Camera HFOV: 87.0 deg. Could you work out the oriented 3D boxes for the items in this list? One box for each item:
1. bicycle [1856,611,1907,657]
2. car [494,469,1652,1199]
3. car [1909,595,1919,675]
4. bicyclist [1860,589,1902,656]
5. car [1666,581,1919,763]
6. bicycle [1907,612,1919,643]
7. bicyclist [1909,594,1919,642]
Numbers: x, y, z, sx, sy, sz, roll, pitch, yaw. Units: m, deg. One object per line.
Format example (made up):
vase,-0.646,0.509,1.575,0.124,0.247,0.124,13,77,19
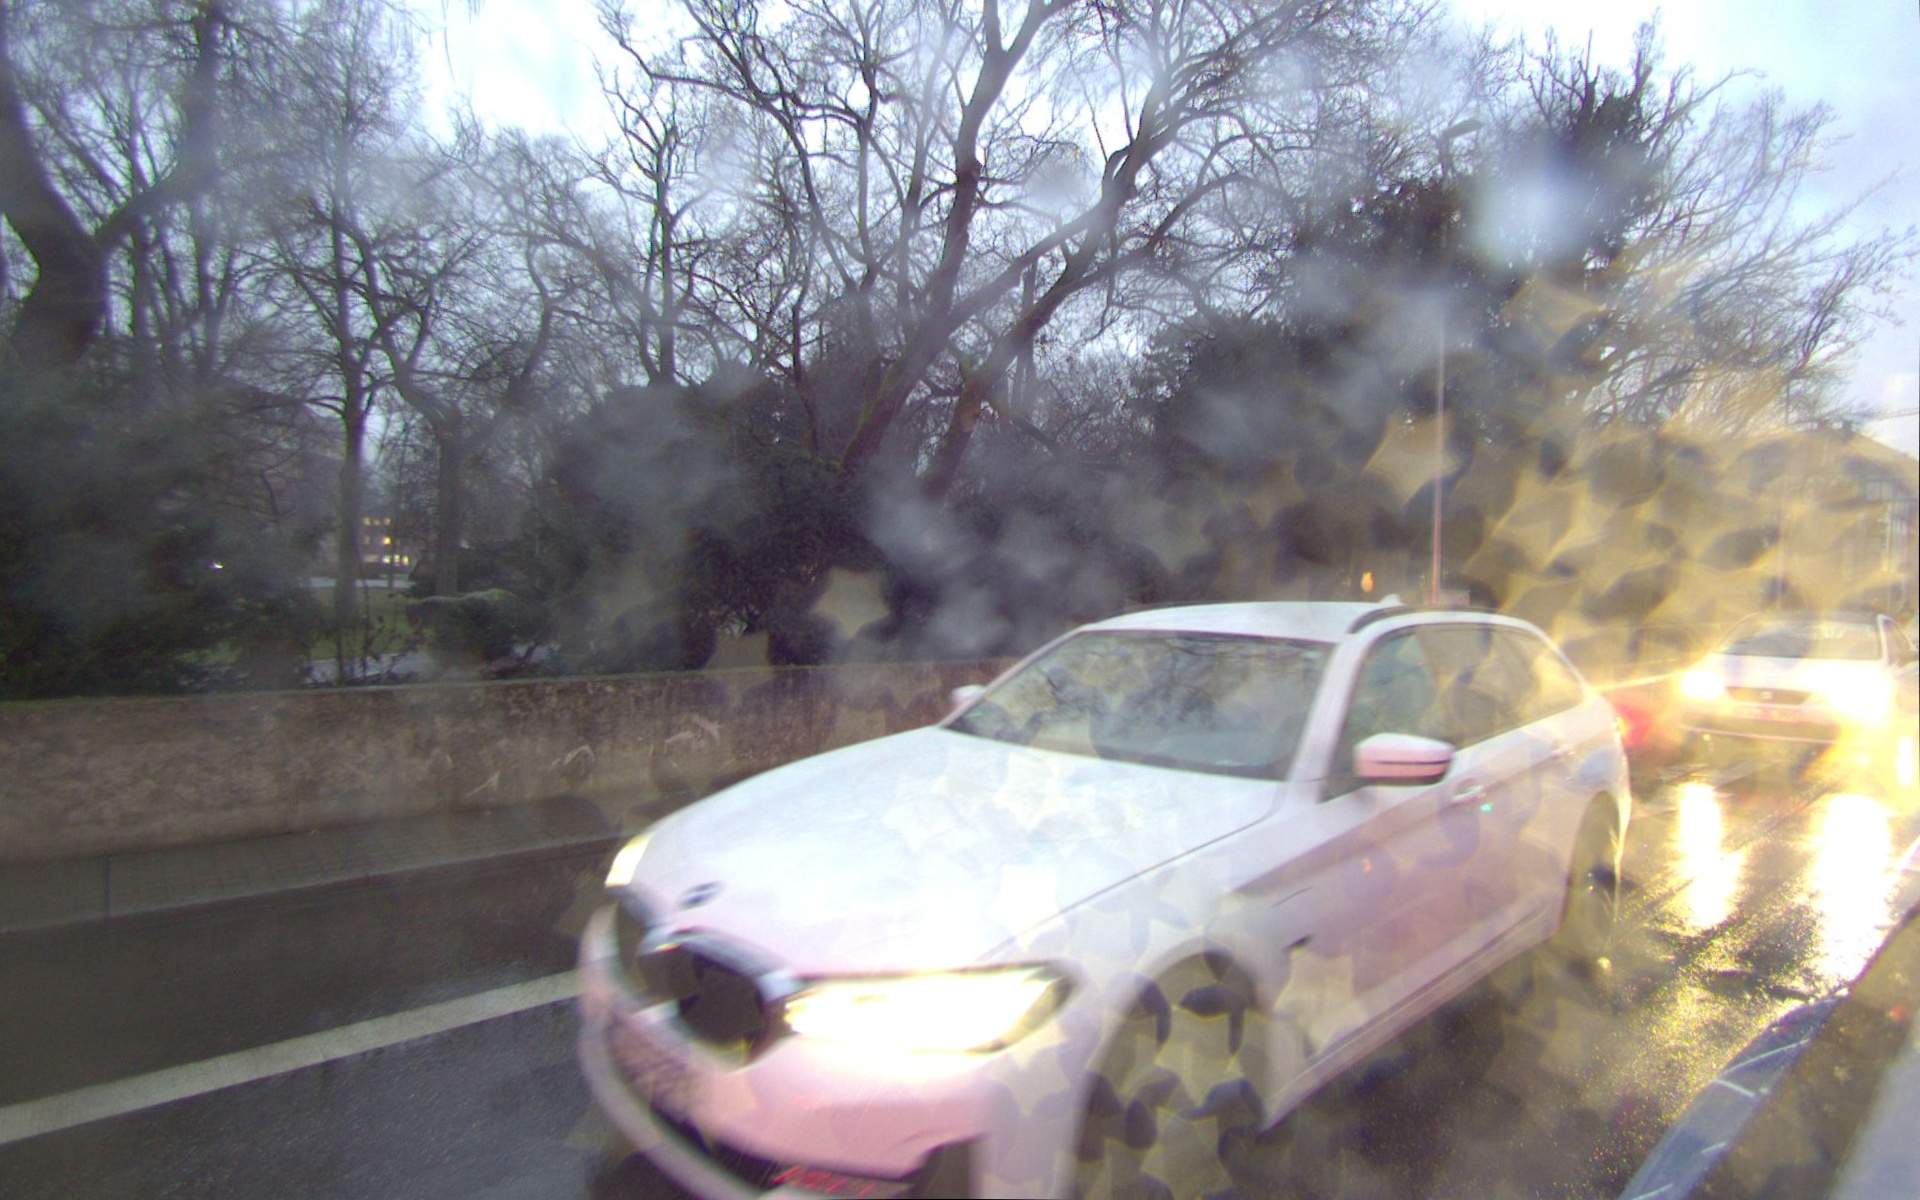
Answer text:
bicycle,31.633,1.143,34.715,3.331,1.469,0.966,0,0,-42
car,1.034,0.551,3.965,4.857,1.575,1.864,0,2,-45
car,22.068,0.715,21.810,4.196,1.648,2.070,0,0,-43
bicyclist,31.526,0.763,34.641,0.919,2.251,0.966,0,0,-41
car,9.484,0.634,11.085,4.097,1.580,1.885,0,2,-41
bicycle,34.317,0.969,36.044,1.691,1.055,0.691,0,0,-41
bicyclist,34.304,0.647,36.043,0.582,1.706,0.691,0,0,-41
